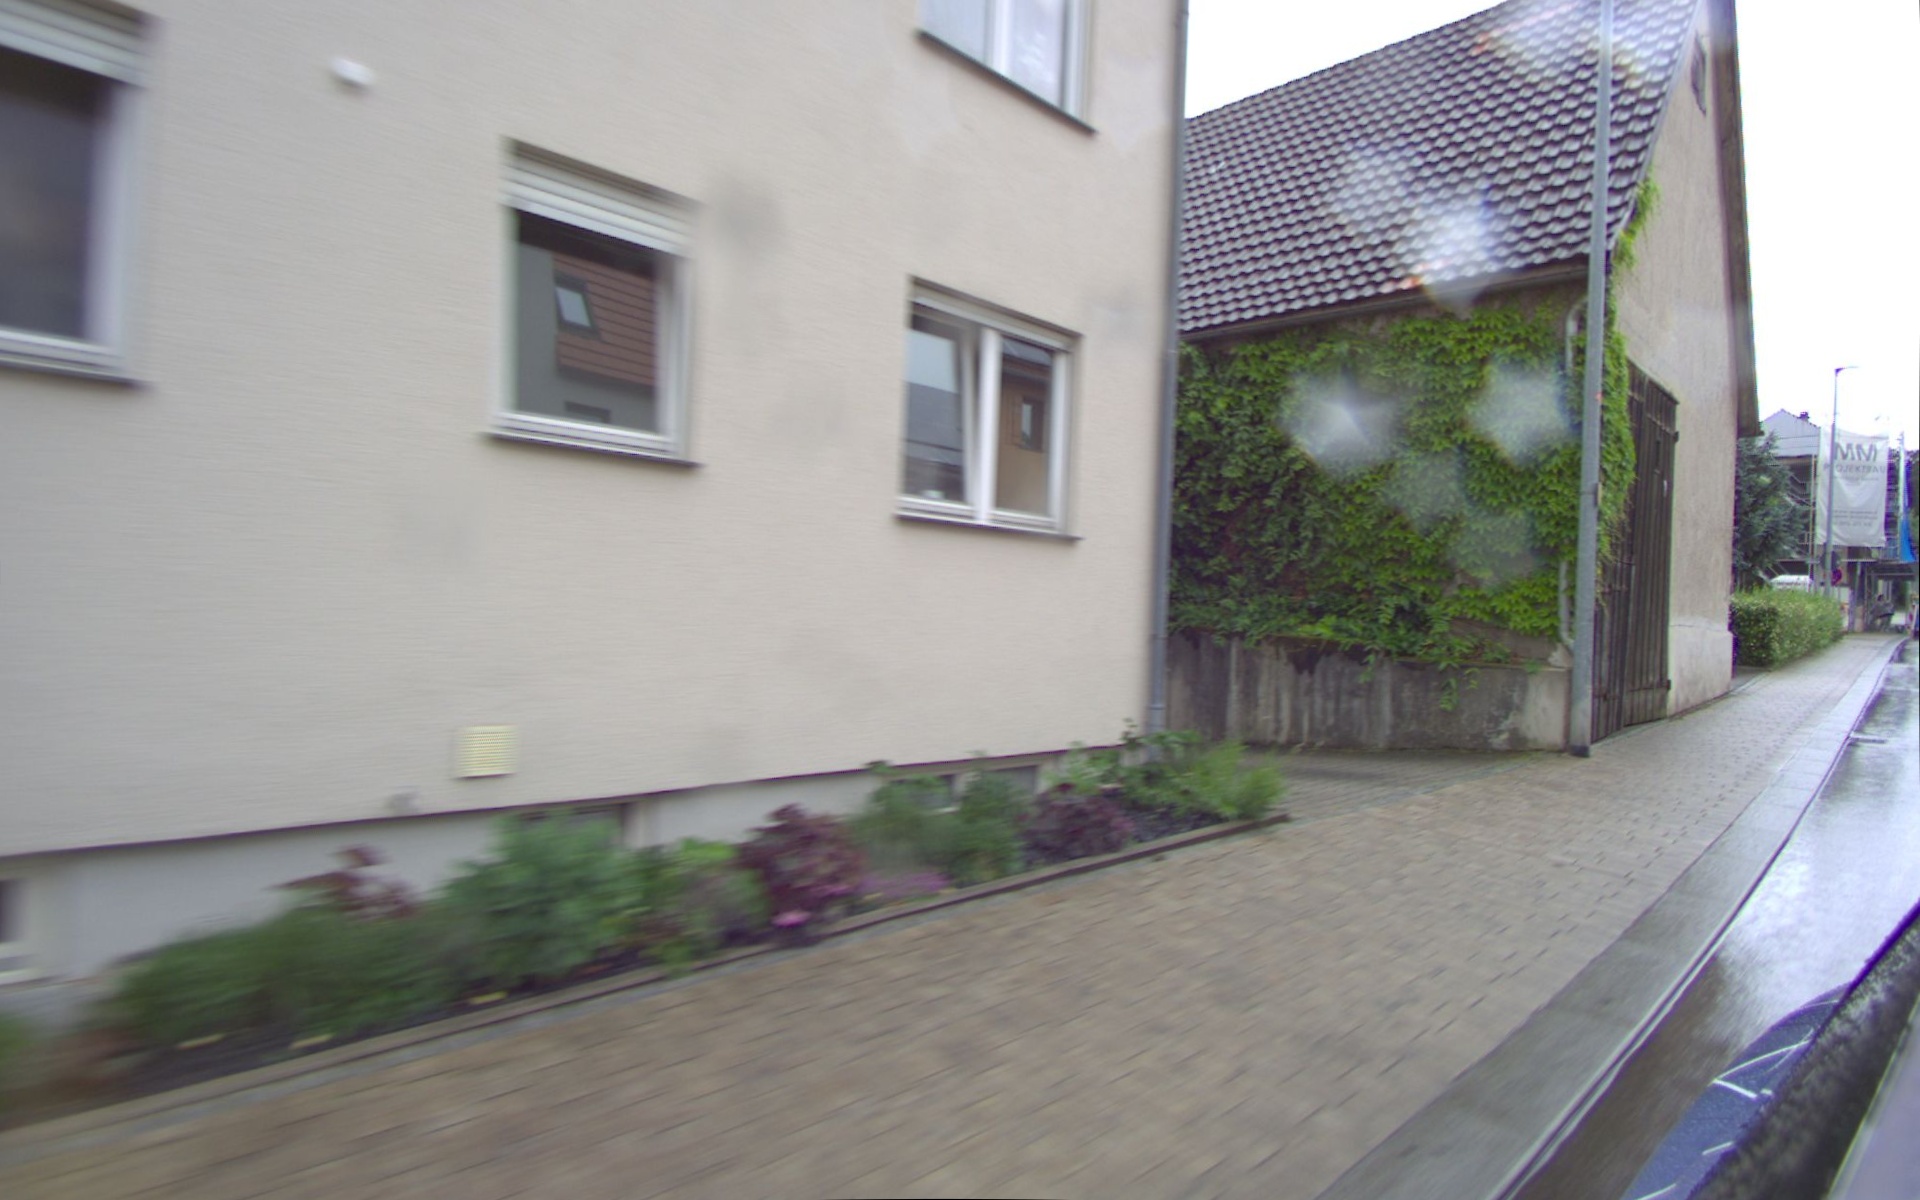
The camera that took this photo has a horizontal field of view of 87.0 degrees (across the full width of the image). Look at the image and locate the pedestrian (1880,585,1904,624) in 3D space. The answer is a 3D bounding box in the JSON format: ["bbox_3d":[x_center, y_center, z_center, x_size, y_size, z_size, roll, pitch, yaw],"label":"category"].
[{"bbox_3d":[39.266,0.168,42.625,0.429,1.600,0.654,0,3,-45],"label":"pedestrian"}]
